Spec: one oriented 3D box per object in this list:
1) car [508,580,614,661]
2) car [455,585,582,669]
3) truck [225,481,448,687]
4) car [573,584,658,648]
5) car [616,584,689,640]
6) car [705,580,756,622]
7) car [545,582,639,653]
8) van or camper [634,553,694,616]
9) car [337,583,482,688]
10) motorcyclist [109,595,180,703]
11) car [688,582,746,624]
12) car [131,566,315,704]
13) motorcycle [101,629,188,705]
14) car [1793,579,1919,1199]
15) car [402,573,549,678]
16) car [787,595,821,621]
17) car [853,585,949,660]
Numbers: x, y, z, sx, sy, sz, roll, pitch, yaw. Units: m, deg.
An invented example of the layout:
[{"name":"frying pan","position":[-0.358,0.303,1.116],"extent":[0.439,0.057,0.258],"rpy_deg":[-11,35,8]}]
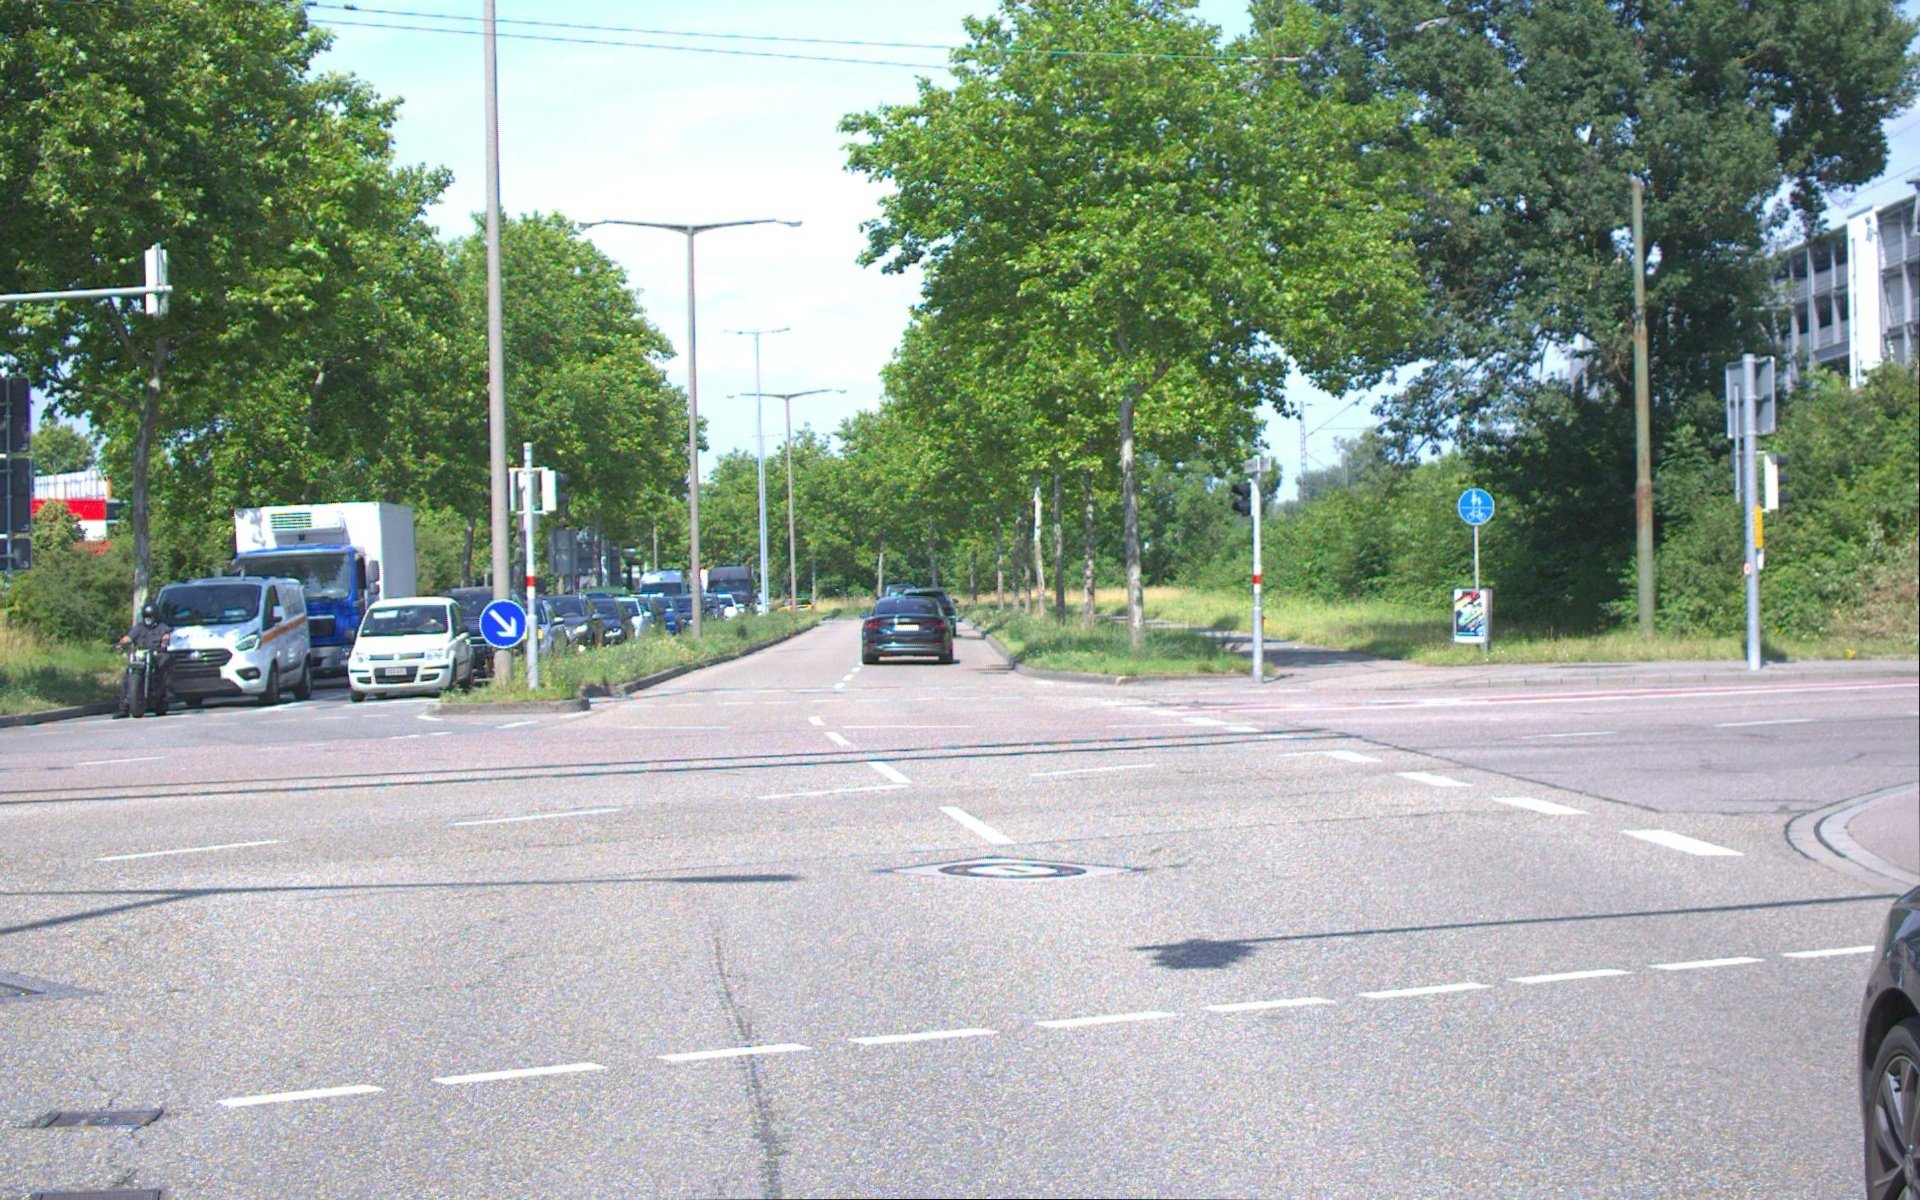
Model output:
[{"name":"car","position":[-8.284,0.404,71.659],"extent":[1.689,1.581,4.240],"rpy_deg":[-2,1,-1]},{"name":"car","position":[-8.320,0.482,65.078],"extent":[1.796,1.463,4.523],"rpy_deg":[-2,1,0]},{"name":"truck","position":[-11.372,-0.331,63.312],"extent":[2.804,3.459,6.692],"rpy_deg":[-3,1,-1]},{"name":"car","position":[-8.461,0.380,84.617],"extent":[1.689,1.467,3.815],"rpy_deg":[-2,1,-1]},{"name":"car","position":[-8.680,0.316,97.312],"extent":[1.784,1.484,4.211],"rpy_deg":[-2,1,-2]},{"name":"car","position":[-8.772,0.028,131.473],"extent":[1.689,1.505,3.815],"rpy_deg":[-2,1,-1]},{"name":"car","position":[-8.419,0.383,78.980],"extent":[1.689,1.468,4.218],"rpy_deg":[-3,1,-1]},{"name":"van or camper","position":[-12.545,-0.668,145.918],"extent":[2.015,2.579,5.517],"rpy_deg":[-2,1,-1]},{"name":"car","position":[-8.340,0.507,52.315],"extent":[1.593,1.472,3.729],"rpy_deg":[-2,1,-1]},{"name":"motorcyclist","position":[-11.384,0.676,47.993],"extent":[0.743,1.465,0.987],"rpy_deg":[-1,0,-1]},{"name":"car","position":[-8.812,0.098,124.941],"extent":[1.783,1.454,4.472],"rpy_deg":[-2,1,-1]},{"name":"car","position":[-11.299,0.491,52.995],"extent":[1.976,1.992,5.032],"rpy_deg":[-1,1,-3]},{"name":"motorcycle","position":[-11.347,0.920,47.901],"extent":[0.688,0.988,2.217],"rpy_deg":[-1,1,-1]},{"name":"car","position":[2.671,0.707,5.331],"extent":[1.674,1.448,4.036],"rpy_deg":[1,1,-1]},{"name":"car","position":[-8.151,0.437,58.169],"extent":[1.820,1.641,4.694],"rpy_deg":[-2,-1,-1]},{"name":"car","position":[-9.347,0.492,205.627],"extent":[1.802,1.505,3.815],"rpy_deg":[-1,1,-6]},{"name":"car","position":[-1.249,0.444,71.251],"extent":[1.908,1.458,4.622],"rpy_deg":[-1,0,-2]}]
